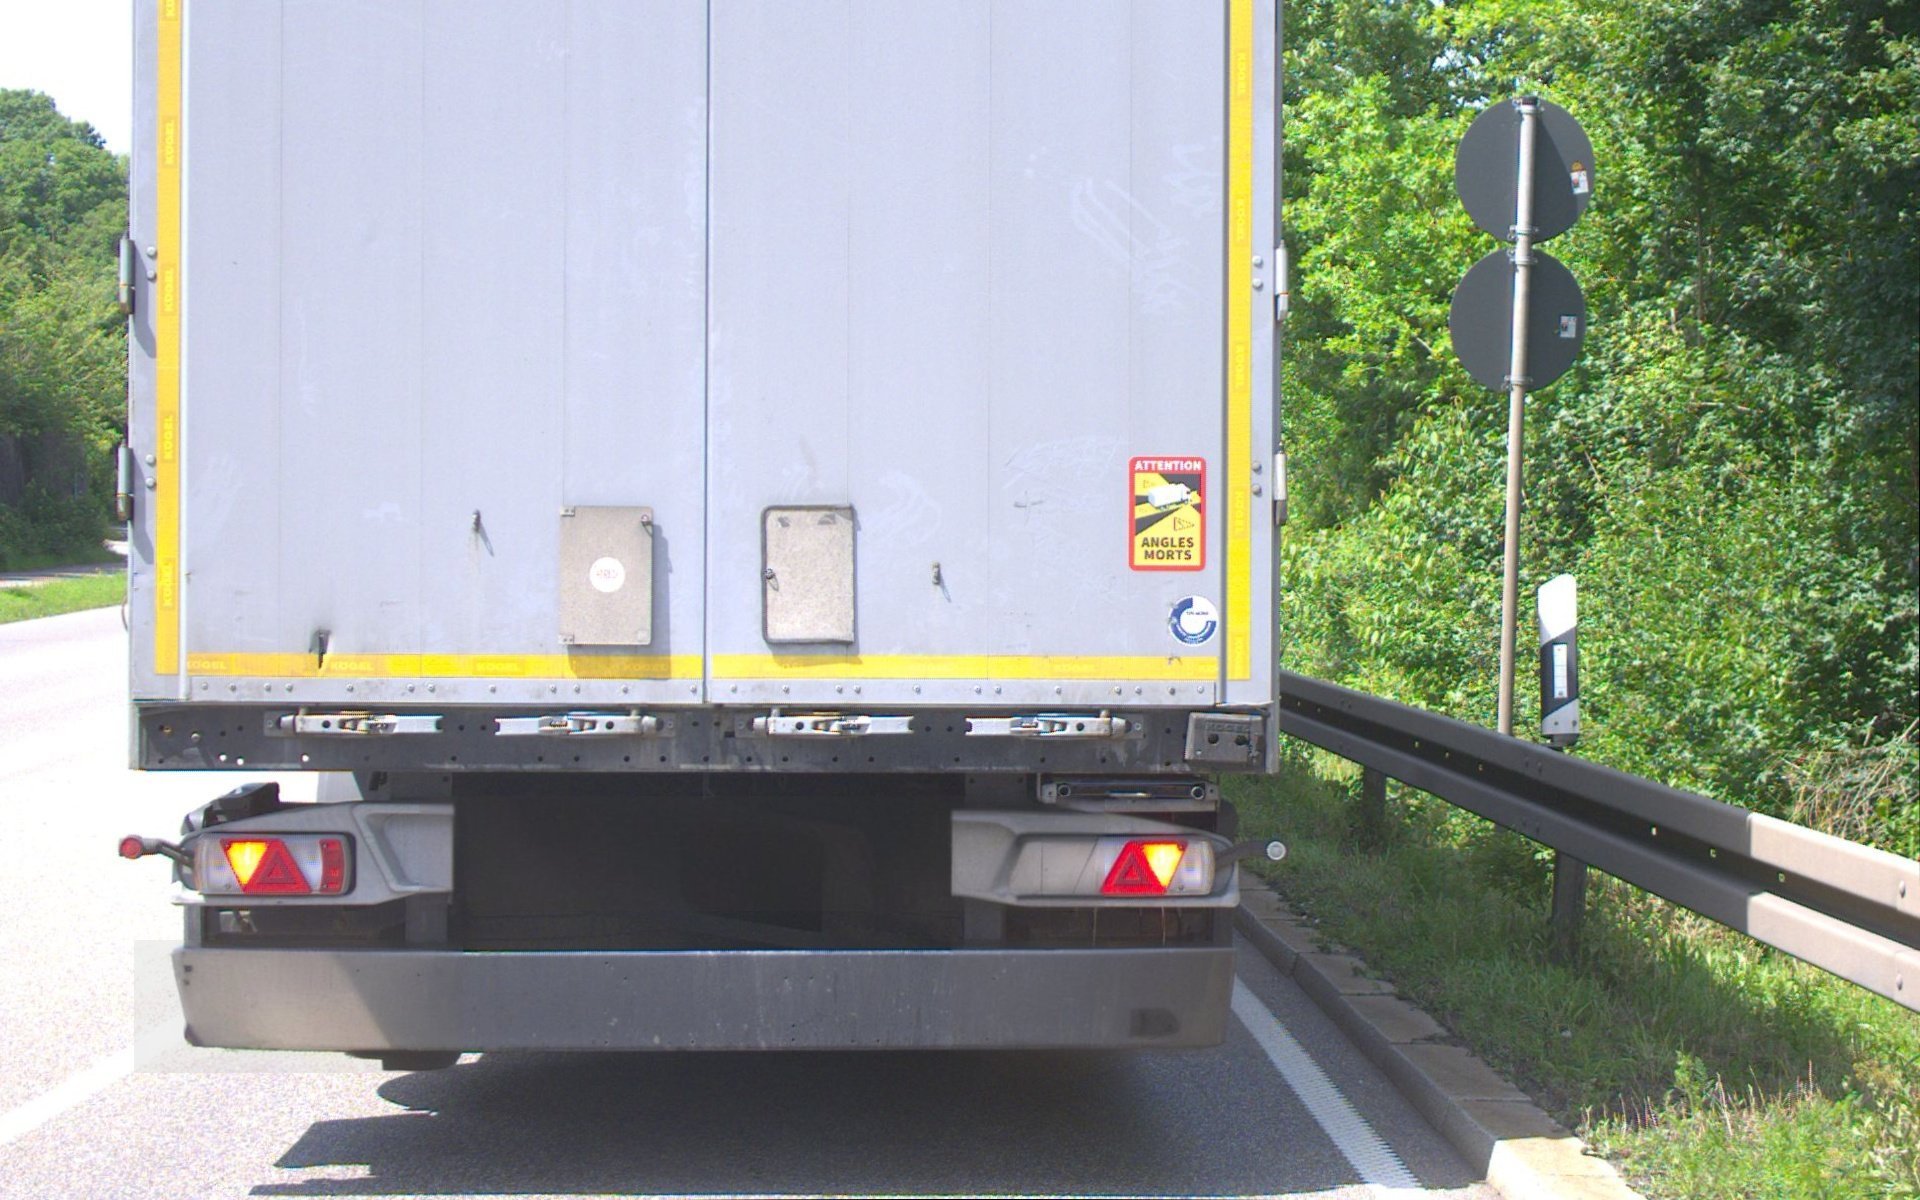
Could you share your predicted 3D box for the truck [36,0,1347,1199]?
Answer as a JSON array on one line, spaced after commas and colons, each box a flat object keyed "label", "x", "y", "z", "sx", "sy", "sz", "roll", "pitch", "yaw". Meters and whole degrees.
[{"label": "truck", "x": -0.701, "y": -0.836, "z": 13.227, "sx": 2.757, "sy": 4.016, "sz": 11.925, "roll": 0, "pitch": 1, "yaw": -1}]
